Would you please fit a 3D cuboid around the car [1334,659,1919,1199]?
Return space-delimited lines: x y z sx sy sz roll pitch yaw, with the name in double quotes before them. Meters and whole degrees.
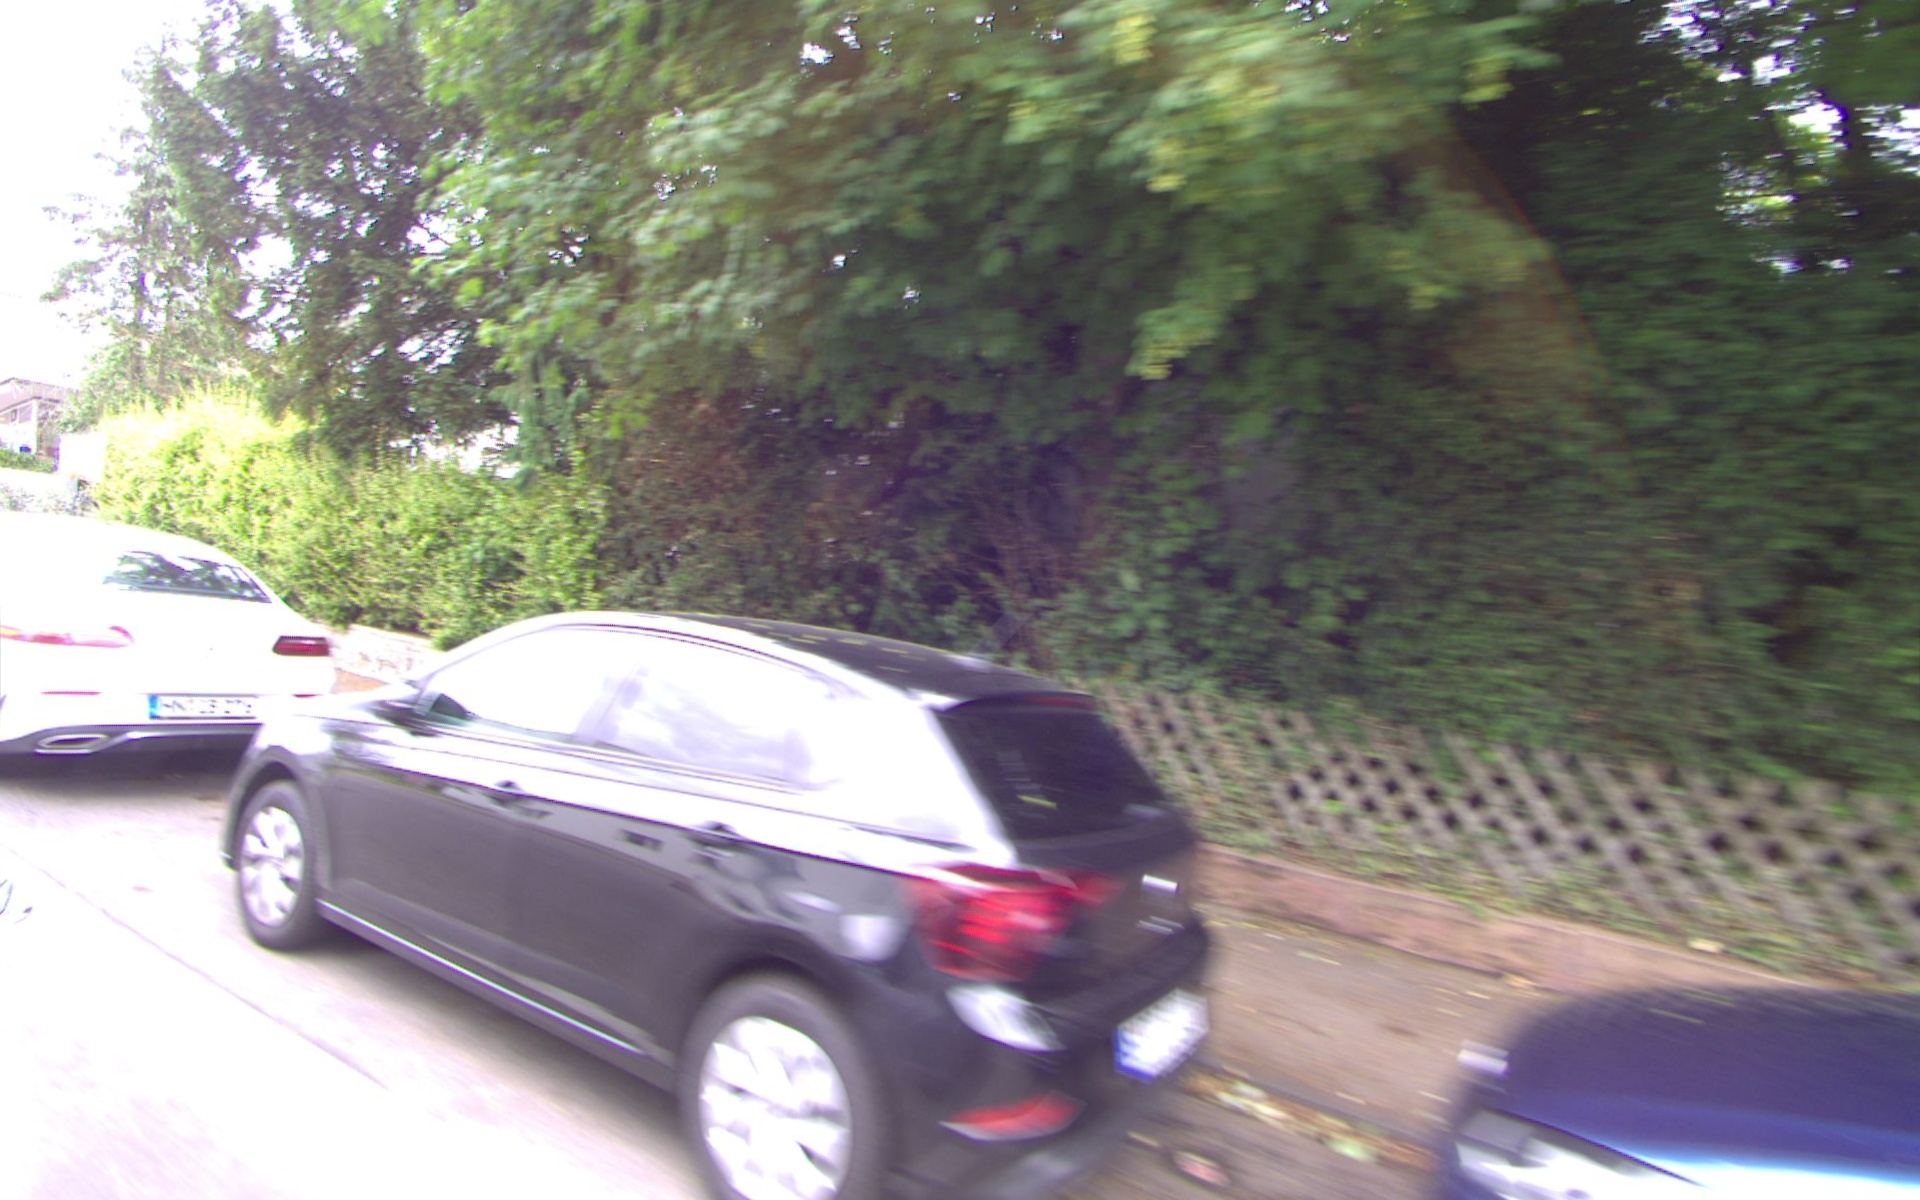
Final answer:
"car" 2.787 1.135 1.282 4.092 1.525 1.701 6 -2 32

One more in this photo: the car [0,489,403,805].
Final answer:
"car" -6.164 0.048 6.859 4.923 1.510 1.994 7 1 33

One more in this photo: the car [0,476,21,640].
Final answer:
"car" -11.331 -0.624 10.116 3.864 1.651 1.720 6 -2 32
